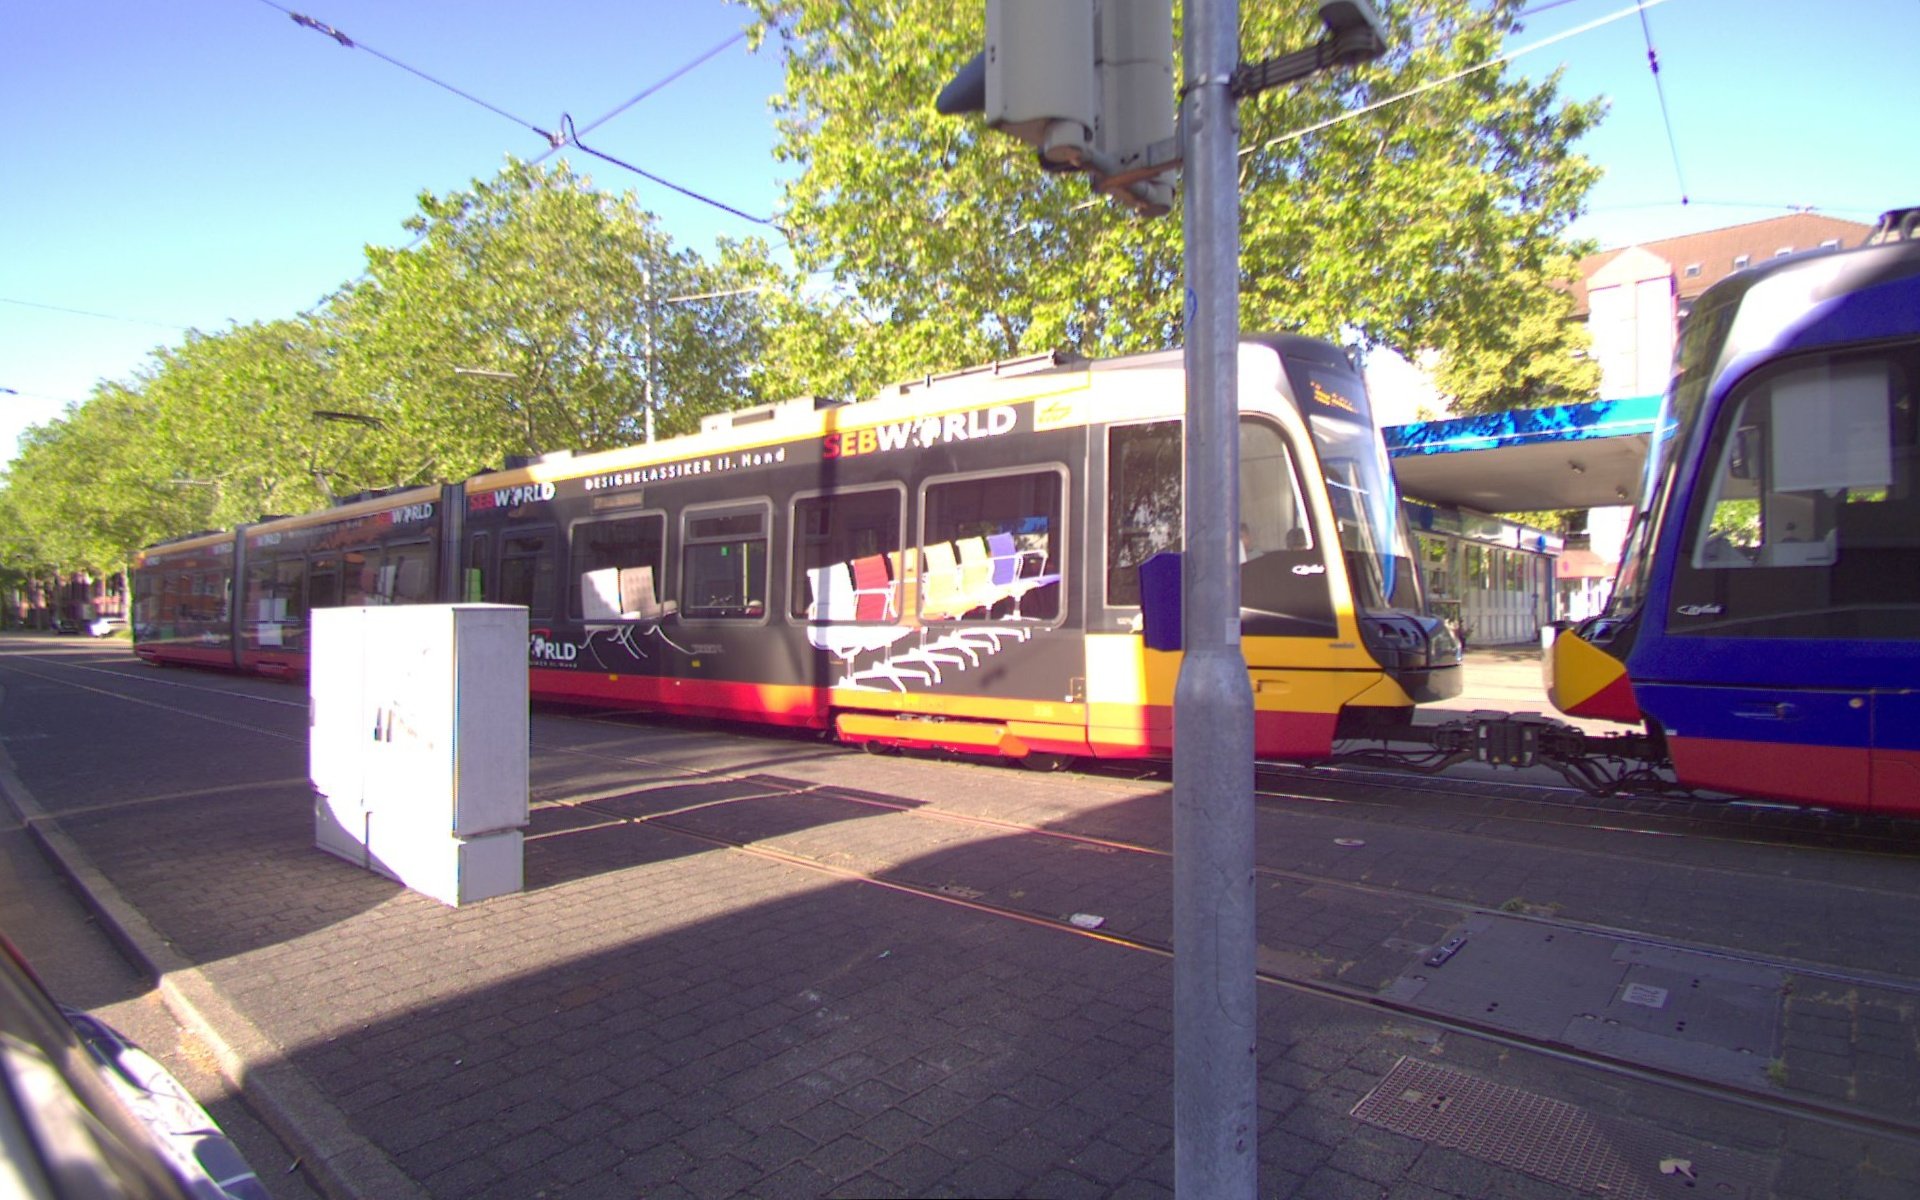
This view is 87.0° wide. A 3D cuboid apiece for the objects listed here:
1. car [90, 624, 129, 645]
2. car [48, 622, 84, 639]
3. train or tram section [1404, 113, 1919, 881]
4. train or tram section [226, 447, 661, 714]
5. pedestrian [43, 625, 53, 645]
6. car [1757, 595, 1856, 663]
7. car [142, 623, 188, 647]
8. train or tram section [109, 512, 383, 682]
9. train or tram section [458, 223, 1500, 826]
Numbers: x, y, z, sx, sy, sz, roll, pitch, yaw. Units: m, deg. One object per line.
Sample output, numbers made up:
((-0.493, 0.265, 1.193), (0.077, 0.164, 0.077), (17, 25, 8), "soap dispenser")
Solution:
((-66.884, 2.669, 79.549), (4.000, 1.563, 1.857), (-1, -2, 43), "car")
((-85.143, 2.858, 96.373), (3.995, 1.563, 1.859), (-1, -1, 38), "car")
((8.549, -0.532, 4.074), (12.074, 3.640, 3.032), (-1, -1, 32), "train or tram section")
((-10.242, -0.157, 18.916), (11.943, 3.640, 3.023), (-1, -2, 41), "train or tram section")
((-76.485, 2.930, 84.875), (0.677, 1.654, 0.570), (-1, -2, 43), "pedestrian")
((20.659, 0.677, 24.717), (1.716, 1.497, 4.162), (-1, -1, 40), "car")
((-53.712, 2.314, 68.353), (4.000, 1.563, 1.857), (-1, -2, 43), "car")
((-19.518, 0.055, 27.075), (12.882, 3.640, 3.023), (-1, -2, 41), "train or tram section")
((-1.147, -0.351, 11.087), (12.100, 3.640, 3.025), (-1, -1, 39), "train or tram section")
